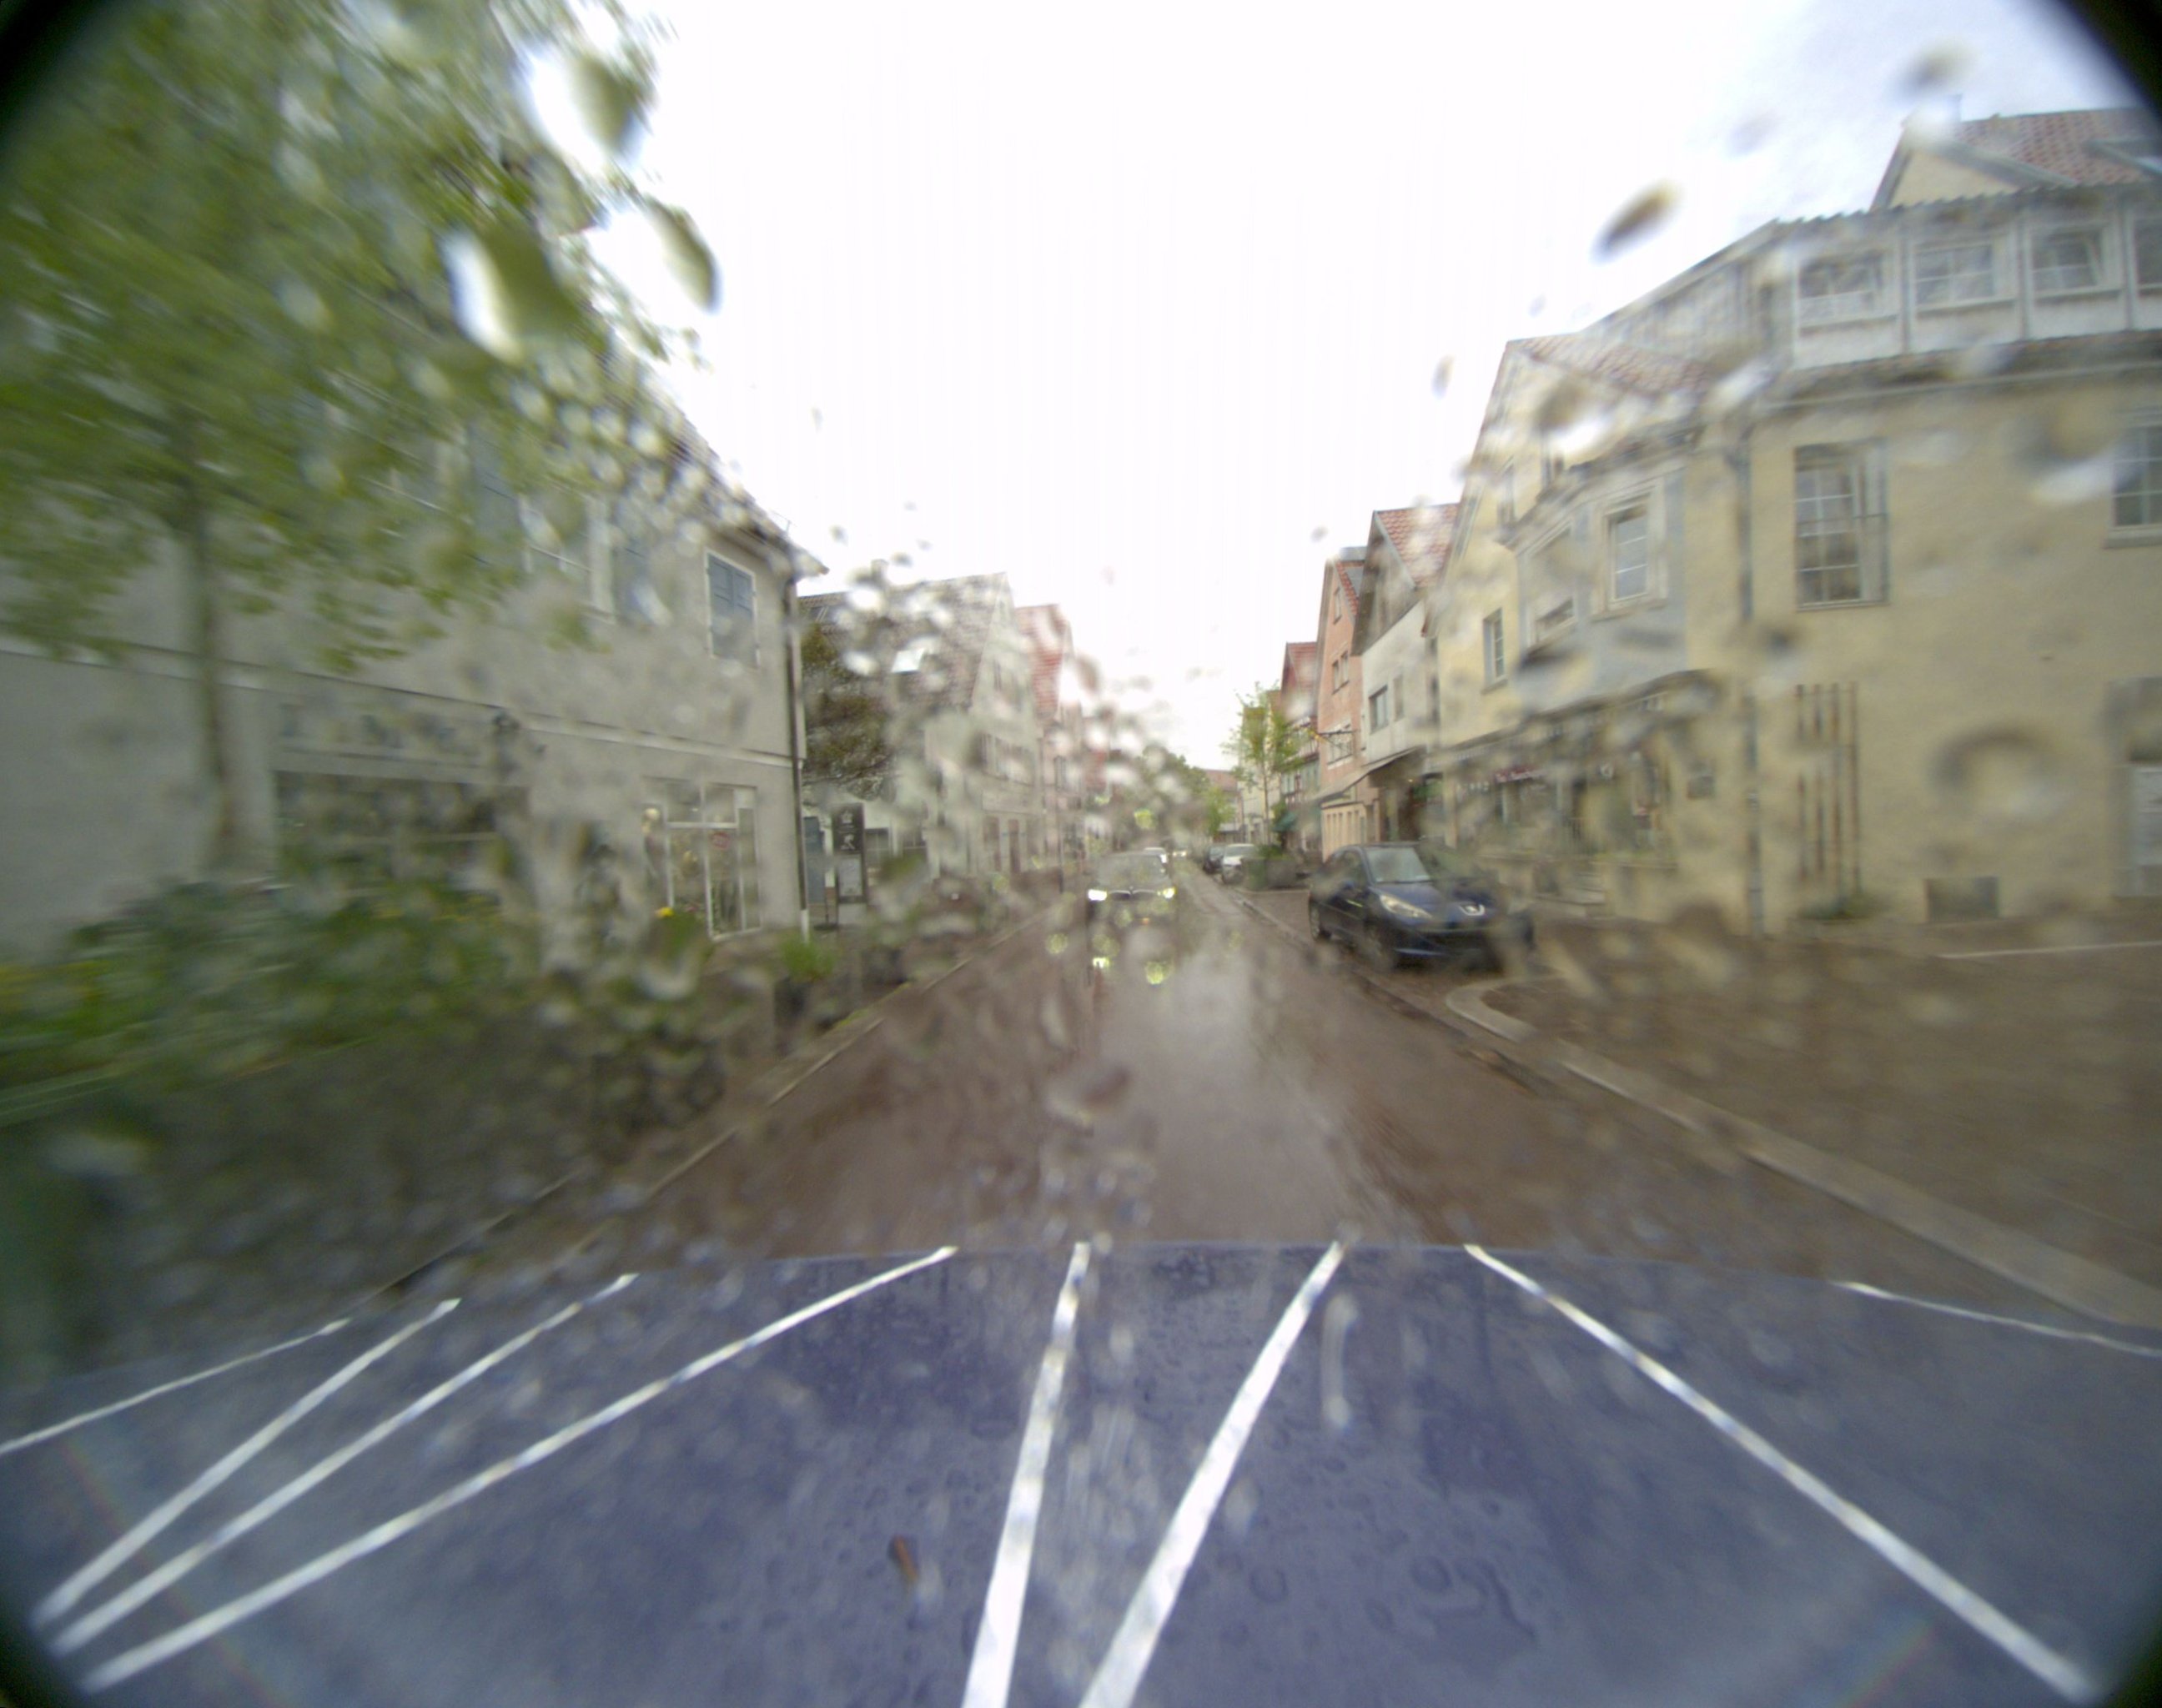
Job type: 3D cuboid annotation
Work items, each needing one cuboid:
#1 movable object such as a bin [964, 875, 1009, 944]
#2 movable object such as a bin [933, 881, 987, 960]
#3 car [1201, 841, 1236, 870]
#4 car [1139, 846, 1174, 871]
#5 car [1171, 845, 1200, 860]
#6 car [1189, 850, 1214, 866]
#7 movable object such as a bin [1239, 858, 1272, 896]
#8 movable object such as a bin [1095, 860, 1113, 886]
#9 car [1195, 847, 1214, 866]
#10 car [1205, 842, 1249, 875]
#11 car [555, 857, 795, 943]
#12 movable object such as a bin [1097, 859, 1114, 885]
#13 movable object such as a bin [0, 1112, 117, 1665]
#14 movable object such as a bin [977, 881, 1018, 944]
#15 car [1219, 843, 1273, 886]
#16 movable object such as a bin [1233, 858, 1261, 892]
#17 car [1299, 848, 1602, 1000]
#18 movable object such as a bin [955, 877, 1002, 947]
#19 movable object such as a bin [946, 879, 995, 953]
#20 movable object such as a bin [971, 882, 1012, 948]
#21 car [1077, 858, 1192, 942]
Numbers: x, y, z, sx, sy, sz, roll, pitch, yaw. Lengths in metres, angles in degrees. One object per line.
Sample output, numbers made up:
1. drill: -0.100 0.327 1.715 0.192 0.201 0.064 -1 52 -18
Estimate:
1. movable object such as a bin: -1.815 1.062 14.648 0.679 1.249 0.543 -2 2 7
2. movable object such as a bin: -2.033 1.115 12.867 0.679 1.234 0.731 -2 2 7
3. car: 8.755 0.076 48.605 1.837 1.665 4.541 -2 1 6
4. car: 4.959 0.260 49.717 1.997 1.445 4.001 -2 1 9
5. car: 11.738 -0.150 85.068 1.995 1.445 4.006 -2 2 25
6. car: 11.399 0.372 72.188 1.805 1.424 4.629 -2 0 3
7. movable object such as a bin: 5.506 0.710 23.966 0.817 1.100 0.610 -5 2 3
8. movable object such as a bin: 1.113 0.895 36.659 0.720 1.194 0.578 -2 2 9
9. car: 10.810 0.206 66.723 1.595 1.537 3.978 -2 1 9
10. car: 8.037 0.202 42.205 1.837 1.543 4.282 -6 1 5
11. car: -8.928 0.911 16.943 4.368 1.645 1.819 -1 0 -42
12. movable object such as a bin: 1.205 0.879 37.339 0.720 1.194 0.573 -2 2 9
13. movable object such as a bin: -2.655 1.204 1.553 0.544 1.149 0.577 -2 2 4
14. movable object such as a bin: -1.724 1.204 15.793 0.659 1.231 0.621 -2 2 7
15. car: 6.760 0.383 31.462 1.830 1.557 4.001 -2 1 8
16. movable object such as a bin: 5.765 0.724 26.369 0.817 1.100 0.610 -2 2 3
17. car: 4.363 0.710 9.800 1.998 1.463 4.000 -3 0 2
18. movable object such as a bin: -1.889 1.067 14.088 0.679 1.225 0.565 -2 2 7
19. movable object such as a bin: -1.954 1.096 13.517 0.679 1.243 0.565 -2 2 7
20. movable object such as a bin: -1.784 1.209 15.209 0.659 1.238 0.543 -2 2 7
21. car: 1.058 0.846 16.079 1.998 1.398 4.894 -2 0 2
